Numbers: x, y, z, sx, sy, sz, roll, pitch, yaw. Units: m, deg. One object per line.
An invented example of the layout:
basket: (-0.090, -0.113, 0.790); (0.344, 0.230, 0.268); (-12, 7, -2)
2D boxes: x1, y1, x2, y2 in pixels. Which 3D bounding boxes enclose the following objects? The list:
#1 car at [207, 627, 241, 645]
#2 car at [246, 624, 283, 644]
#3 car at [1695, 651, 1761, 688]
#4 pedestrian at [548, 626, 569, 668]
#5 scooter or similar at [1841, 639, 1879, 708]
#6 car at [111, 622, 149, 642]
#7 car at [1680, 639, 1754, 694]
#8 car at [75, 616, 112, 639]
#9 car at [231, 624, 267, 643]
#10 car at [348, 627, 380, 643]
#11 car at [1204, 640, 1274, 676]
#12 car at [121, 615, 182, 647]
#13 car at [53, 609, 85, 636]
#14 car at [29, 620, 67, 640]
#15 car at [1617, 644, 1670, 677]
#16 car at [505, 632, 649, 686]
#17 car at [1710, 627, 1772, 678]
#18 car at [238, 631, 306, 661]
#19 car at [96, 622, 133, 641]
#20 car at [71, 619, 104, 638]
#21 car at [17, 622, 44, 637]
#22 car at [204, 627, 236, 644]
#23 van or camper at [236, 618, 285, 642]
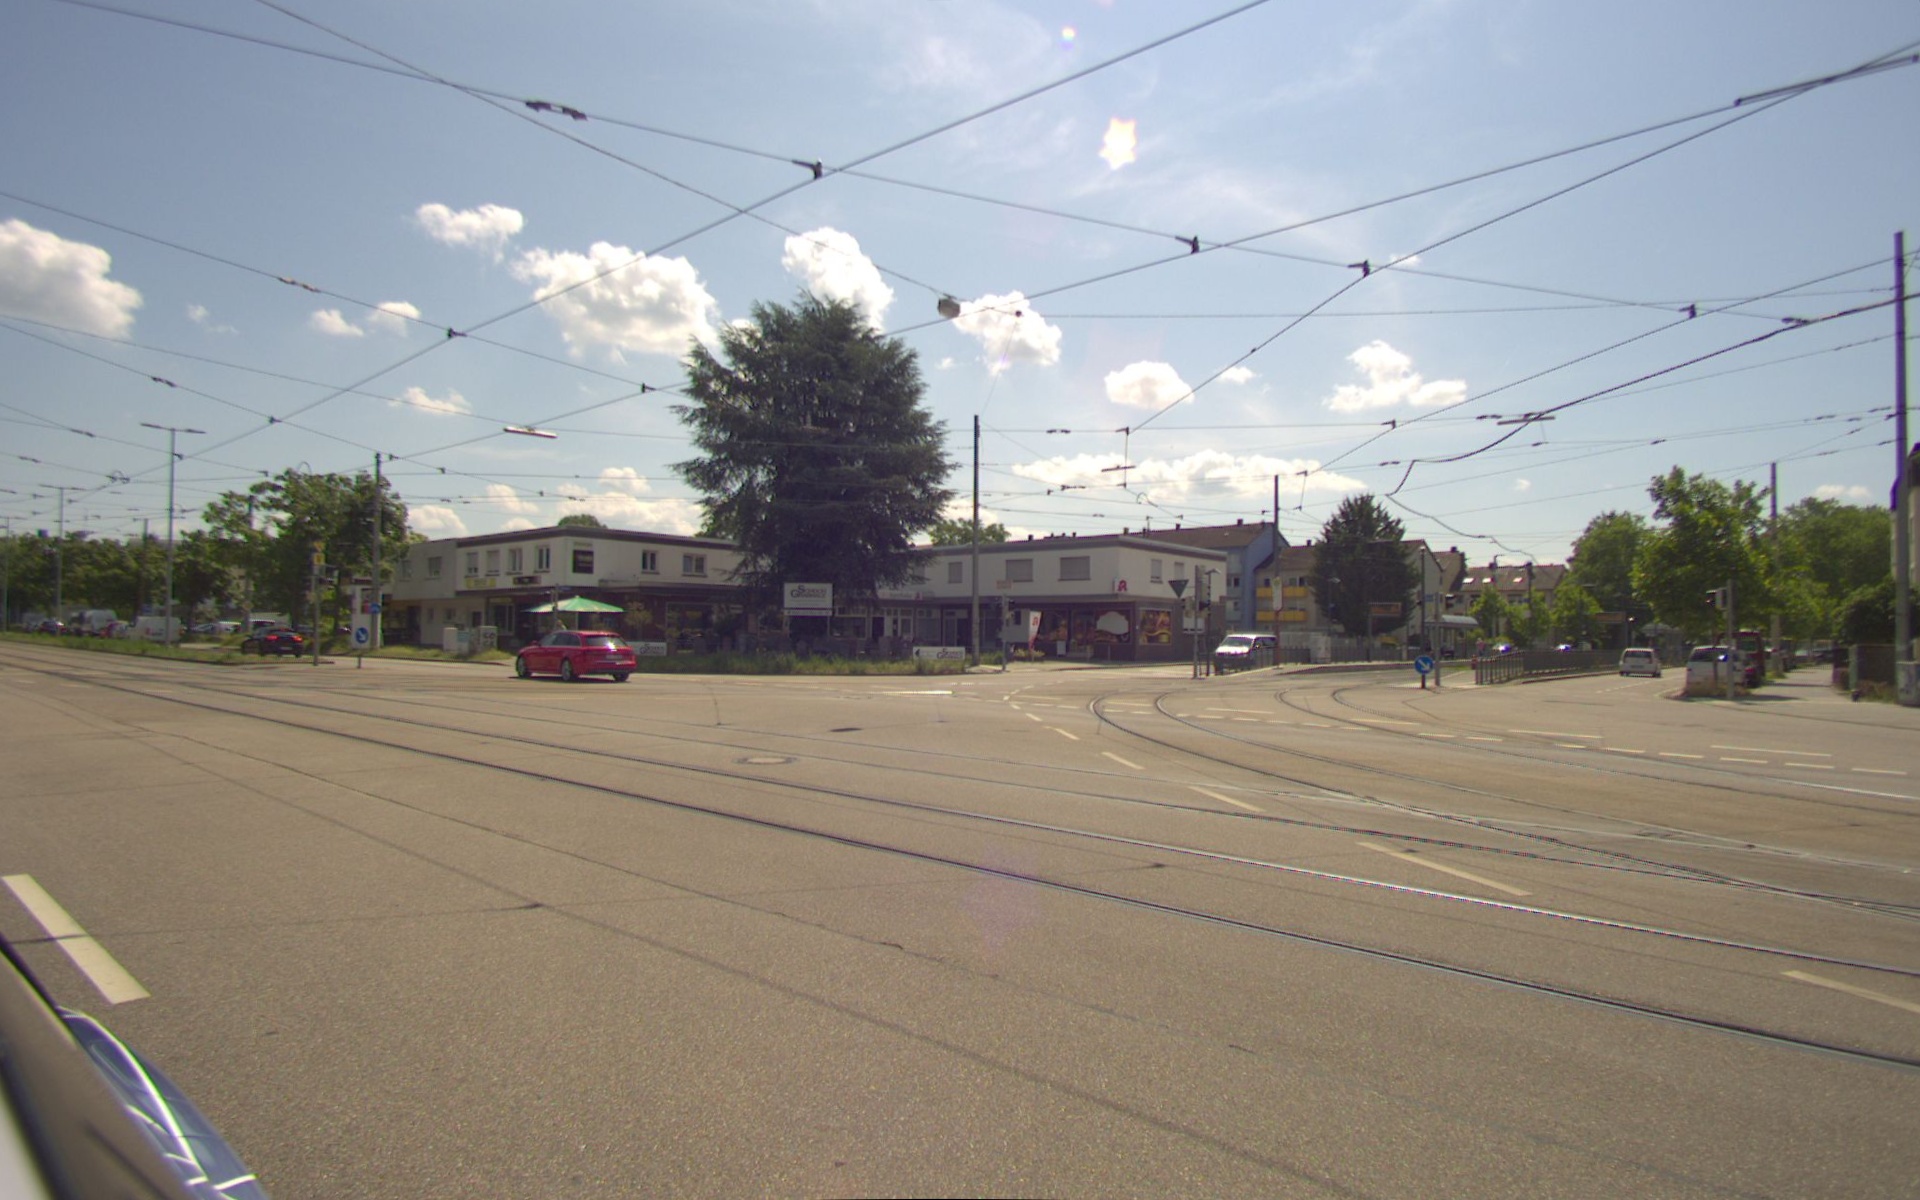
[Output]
car: (-72.522, 3.550, 99.712); (3.996, 1.706, 1.722); (-1, -3, 40)
car: (-62.605, 3.043, 91.069); (3.996, 1.706, 1.722); (-1, -3, 40)
car: (31.251, 2.792, 41.216); (1.997, 1.342, 4.760); (-1, -3, 37)
pedestrian: (-17.492, 2.047, 44.083); (0.679, 1.788, 0.485); (0, 2, 21)
scooter or similar: (25.080, 2.031, 28.215); (0.616, 1.860, 1.988); (-1, -3, 38)
car: (-70.169, 2.730, 85.521); (3.996, 1.608, 1.722); (-1, -3, 40)
car: (27.498, 2.369, 36.783); (1.997, 1.853, 4.760); (-1, -3, 37)
car: (-79.797, 2.535, 93.186); (3.996, 1.980, 1.942); (-1, -3, 40)
car: (-66.329, 3.157, 94.392); (3.996, 1.706, 1.722); (-1, -3, 40)
car: (-65.492, 3.835, 111.189); (3.996, 1.706, 1.722); (-1, -3, 40)
car: (14.242, 2.950, 51.469); (1.998, 1.741, 3.946); (-1, -3, 40)
car: (-49.466, 1.921, 61.895); (4.548, 1.890, 1.841); (-1, -3, 37)
car: (-90.779, 2.314, 103.104); (3.996, 2.608, 1.722); (-1, -3, 40)
car: (-76.628, 2.542, 85.035); (3.996, 1.608, 1.722); (-1, -3, 40)
car: (36.434, 3.194, 53.881); (1.997, 1.618, 4.759); (-1, -3, 38)
car: (-11.481, 1.724, 30.176); (4.819, 1.461, 1.972); (-1, -3, 42)
car: (38.431, 2.562, 49.750); (2.214, 2.357, 5.150); (-1, -3, 40)
car: (-33.715, 2.238, 49.544); (3.998, 1.364, 1.761); (-1, -3, 41)
car: (-74.547, 2.765, 89.216); (3.996, 1.608, 1.722); (-1, -3, 40)
car: (-83.696, 2.749, 97.041); (3.996, 1.706, 1.722); (-1, -3, 40)
car: (-107.469, 3.424, 116.955); (3.996, 1.706, 1.722); (-1, -3, 40)
car: (-75.914, 3.664, 103.804); (3.996, 1.706, 1.722); (-1, -3, 40)
van or camper: (-96.248, 4.129, 139.303); (2.245, 3.141, 5.092); (-1, -3, 40)
